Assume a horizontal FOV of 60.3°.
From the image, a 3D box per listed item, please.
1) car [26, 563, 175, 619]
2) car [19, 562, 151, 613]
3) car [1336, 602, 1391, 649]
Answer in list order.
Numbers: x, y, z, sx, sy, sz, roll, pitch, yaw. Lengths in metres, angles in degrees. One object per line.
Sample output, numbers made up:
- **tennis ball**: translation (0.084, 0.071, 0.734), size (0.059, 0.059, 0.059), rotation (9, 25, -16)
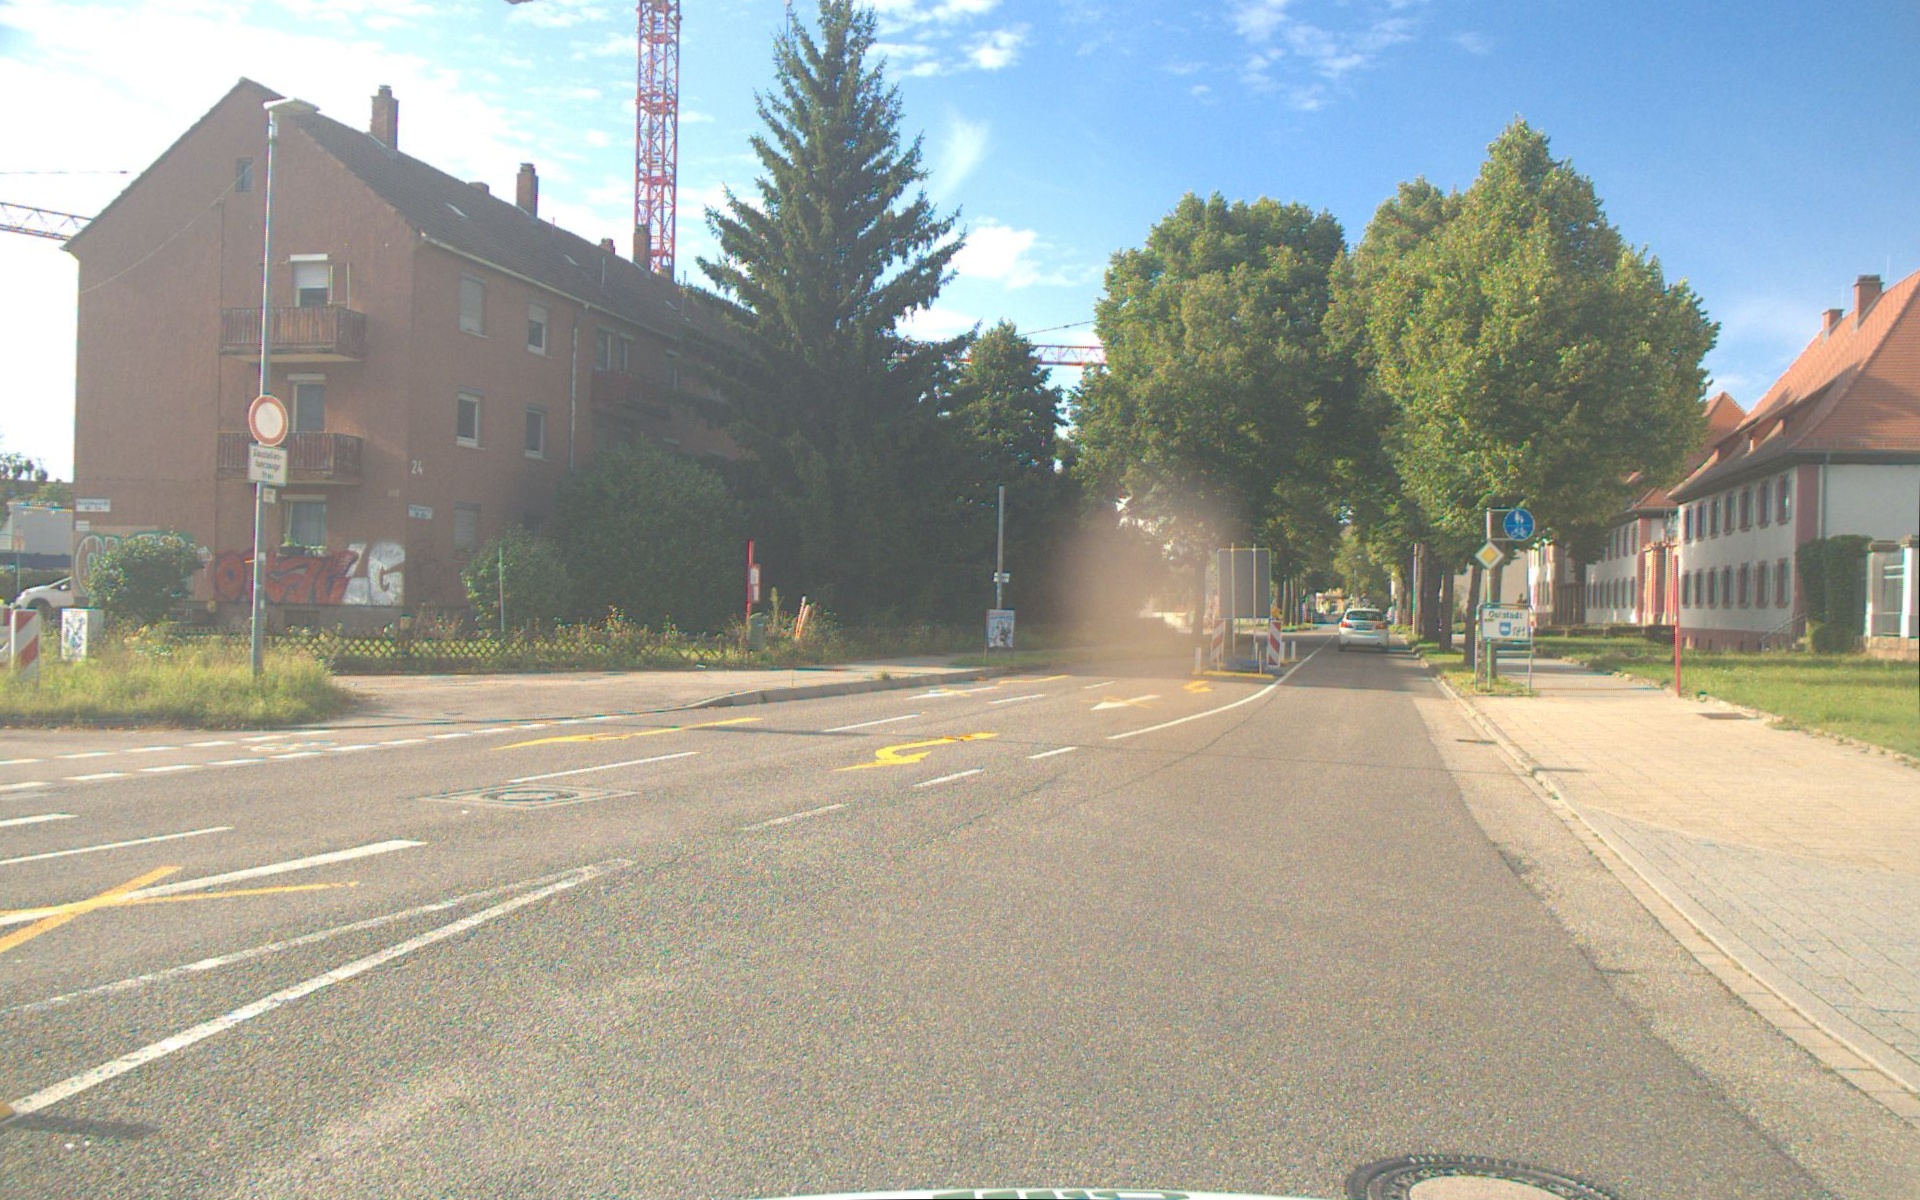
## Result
- **car**: translation (-27.188, -0.285, 52.440), size (3.928, 1.646, 1.763), rotation (1, 0, -20)
- **car**: translation (-30.322, -0.435, 57.321), size (3.946, 1.646, 1.755), rotation (1, 0, -31)
- **car**: translation (14.704, 0.923, 60.396), size (1.811, 1.600, 4.458), rotation (2, 0, 13)
